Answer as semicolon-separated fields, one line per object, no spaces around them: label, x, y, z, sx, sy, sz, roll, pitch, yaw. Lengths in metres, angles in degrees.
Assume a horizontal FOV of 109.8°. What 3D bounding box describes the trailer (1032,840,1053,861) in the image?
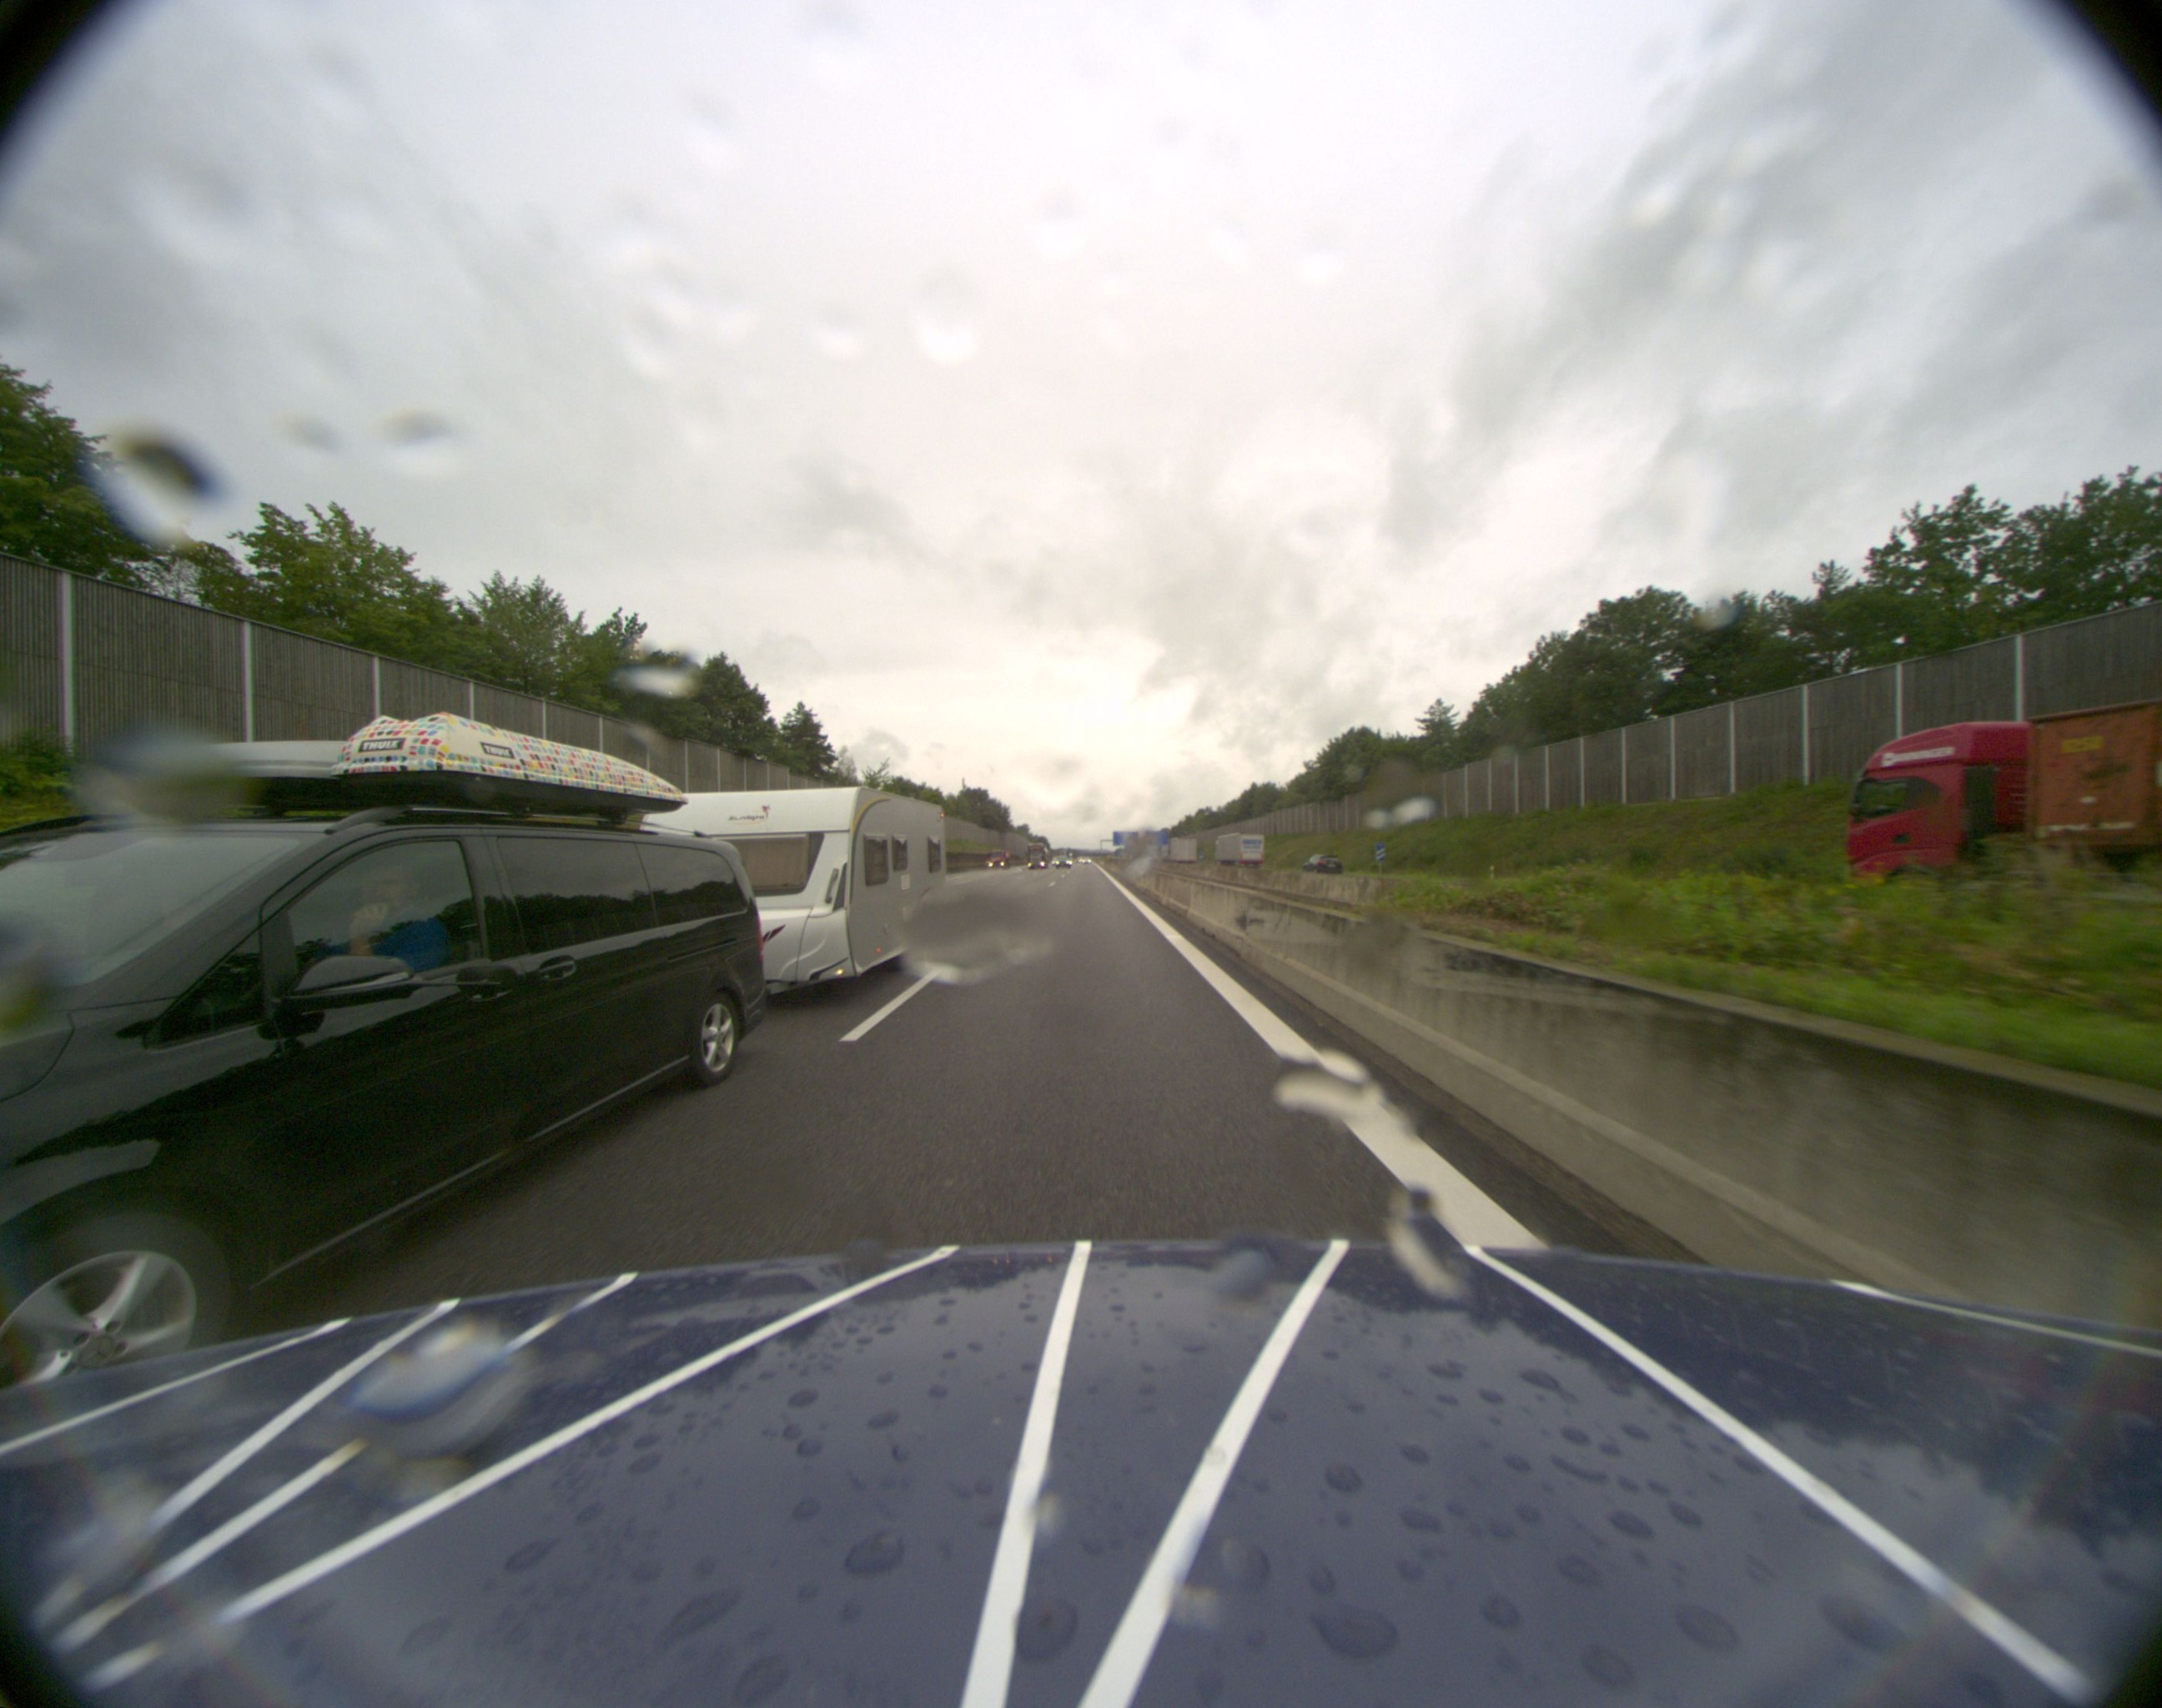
trailer;-6.162;-0.518;123.237;2.600;3.228;9.915;-1;0;1

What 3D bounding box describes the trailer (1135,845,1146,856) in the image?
trailer;20.530;-1.216;262.651;2.718;3.901;10.644;2;1;1

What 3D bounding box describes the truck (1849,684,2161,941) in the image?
truck;16.901;-0.667;12.118;2.703;3.685;6.480;-3;1;1

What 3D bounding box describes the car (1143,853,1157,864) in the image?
car;11.835;0.799;130.770;1.998;1.726;5.001;-1;0;1

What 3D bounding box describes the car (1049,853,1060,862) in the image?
car;-5.318;0.662;154.514;1.916;1.630;3.999;-3;1;0

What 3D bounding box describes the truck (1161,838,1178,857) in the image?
truck;20.409;-1.465;175.617;3.097;4.300;6.097;-1;1;1

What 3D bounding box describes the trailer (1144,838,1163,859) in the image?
trailer;15.822;-1.254;167.277;2.786;4.300;14.022;-3;1;1

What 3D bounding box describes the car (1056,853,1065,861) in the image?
car;-4.879;0.696;183.674;1.998;1.747;4.000;-2;0;1

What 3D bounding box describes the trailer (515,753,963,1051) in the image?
trailer;-3.647;0.426;10.575;2.728;2.627;7.511;-1;0;0

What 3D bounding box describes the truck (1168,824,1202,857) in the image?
truck;14.780;-1.865;108.626;3.159;4.300;12.679;-3;1;1

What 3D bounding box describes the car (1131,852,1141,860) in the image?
car;12.055;0.416;166.907;1.977;1.679;4.357;-1;0;1

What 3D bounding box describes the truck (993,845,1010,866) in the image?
truck;-13.409;0.170;127.808;2.421;3.445;3.999;-1;0;-1

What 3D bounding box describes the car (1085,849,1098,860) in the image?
car;2.315;0.116;173.423;2.680;2.340;5.807;-1;0;-1

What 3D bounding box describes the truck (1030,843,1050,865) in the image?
truck;-6.231;-0.049;116.340;2.617;3.218;4.632;-1;0;1

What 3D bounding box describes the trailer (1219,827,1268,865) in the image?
trailer;18.016;-0.858;85.244;2.911;3.913;12.443;-1;0;1

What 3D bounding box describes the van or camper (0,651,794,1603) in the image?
van or camper;-3.507;0.651;3.759;1.895;2.256;5.679;-2;0;1

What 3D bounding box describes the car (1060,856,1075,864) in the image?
car;-1.938;0.800;109.593;2.061;1.020;3.438;-3;1;1

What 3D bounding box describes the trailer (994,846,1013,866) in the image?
trailer;-13.573;0.327;133.588;2.452;3.228;9.399;-1;0;-1

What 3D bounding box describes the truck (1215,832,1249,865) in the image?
truck;18.094;-0.623;91.254;2.896;3.774;5.889;-1;0;1

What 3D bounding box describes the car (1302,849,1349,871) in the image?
car;17.576;0.416;54.909;1.998;1.528;4.481;-1;0;1

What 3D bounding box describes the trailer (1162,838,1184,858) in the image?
trailer;20.332;-1.404;168.884;3.097;4.300;14.336;-1;1;1
